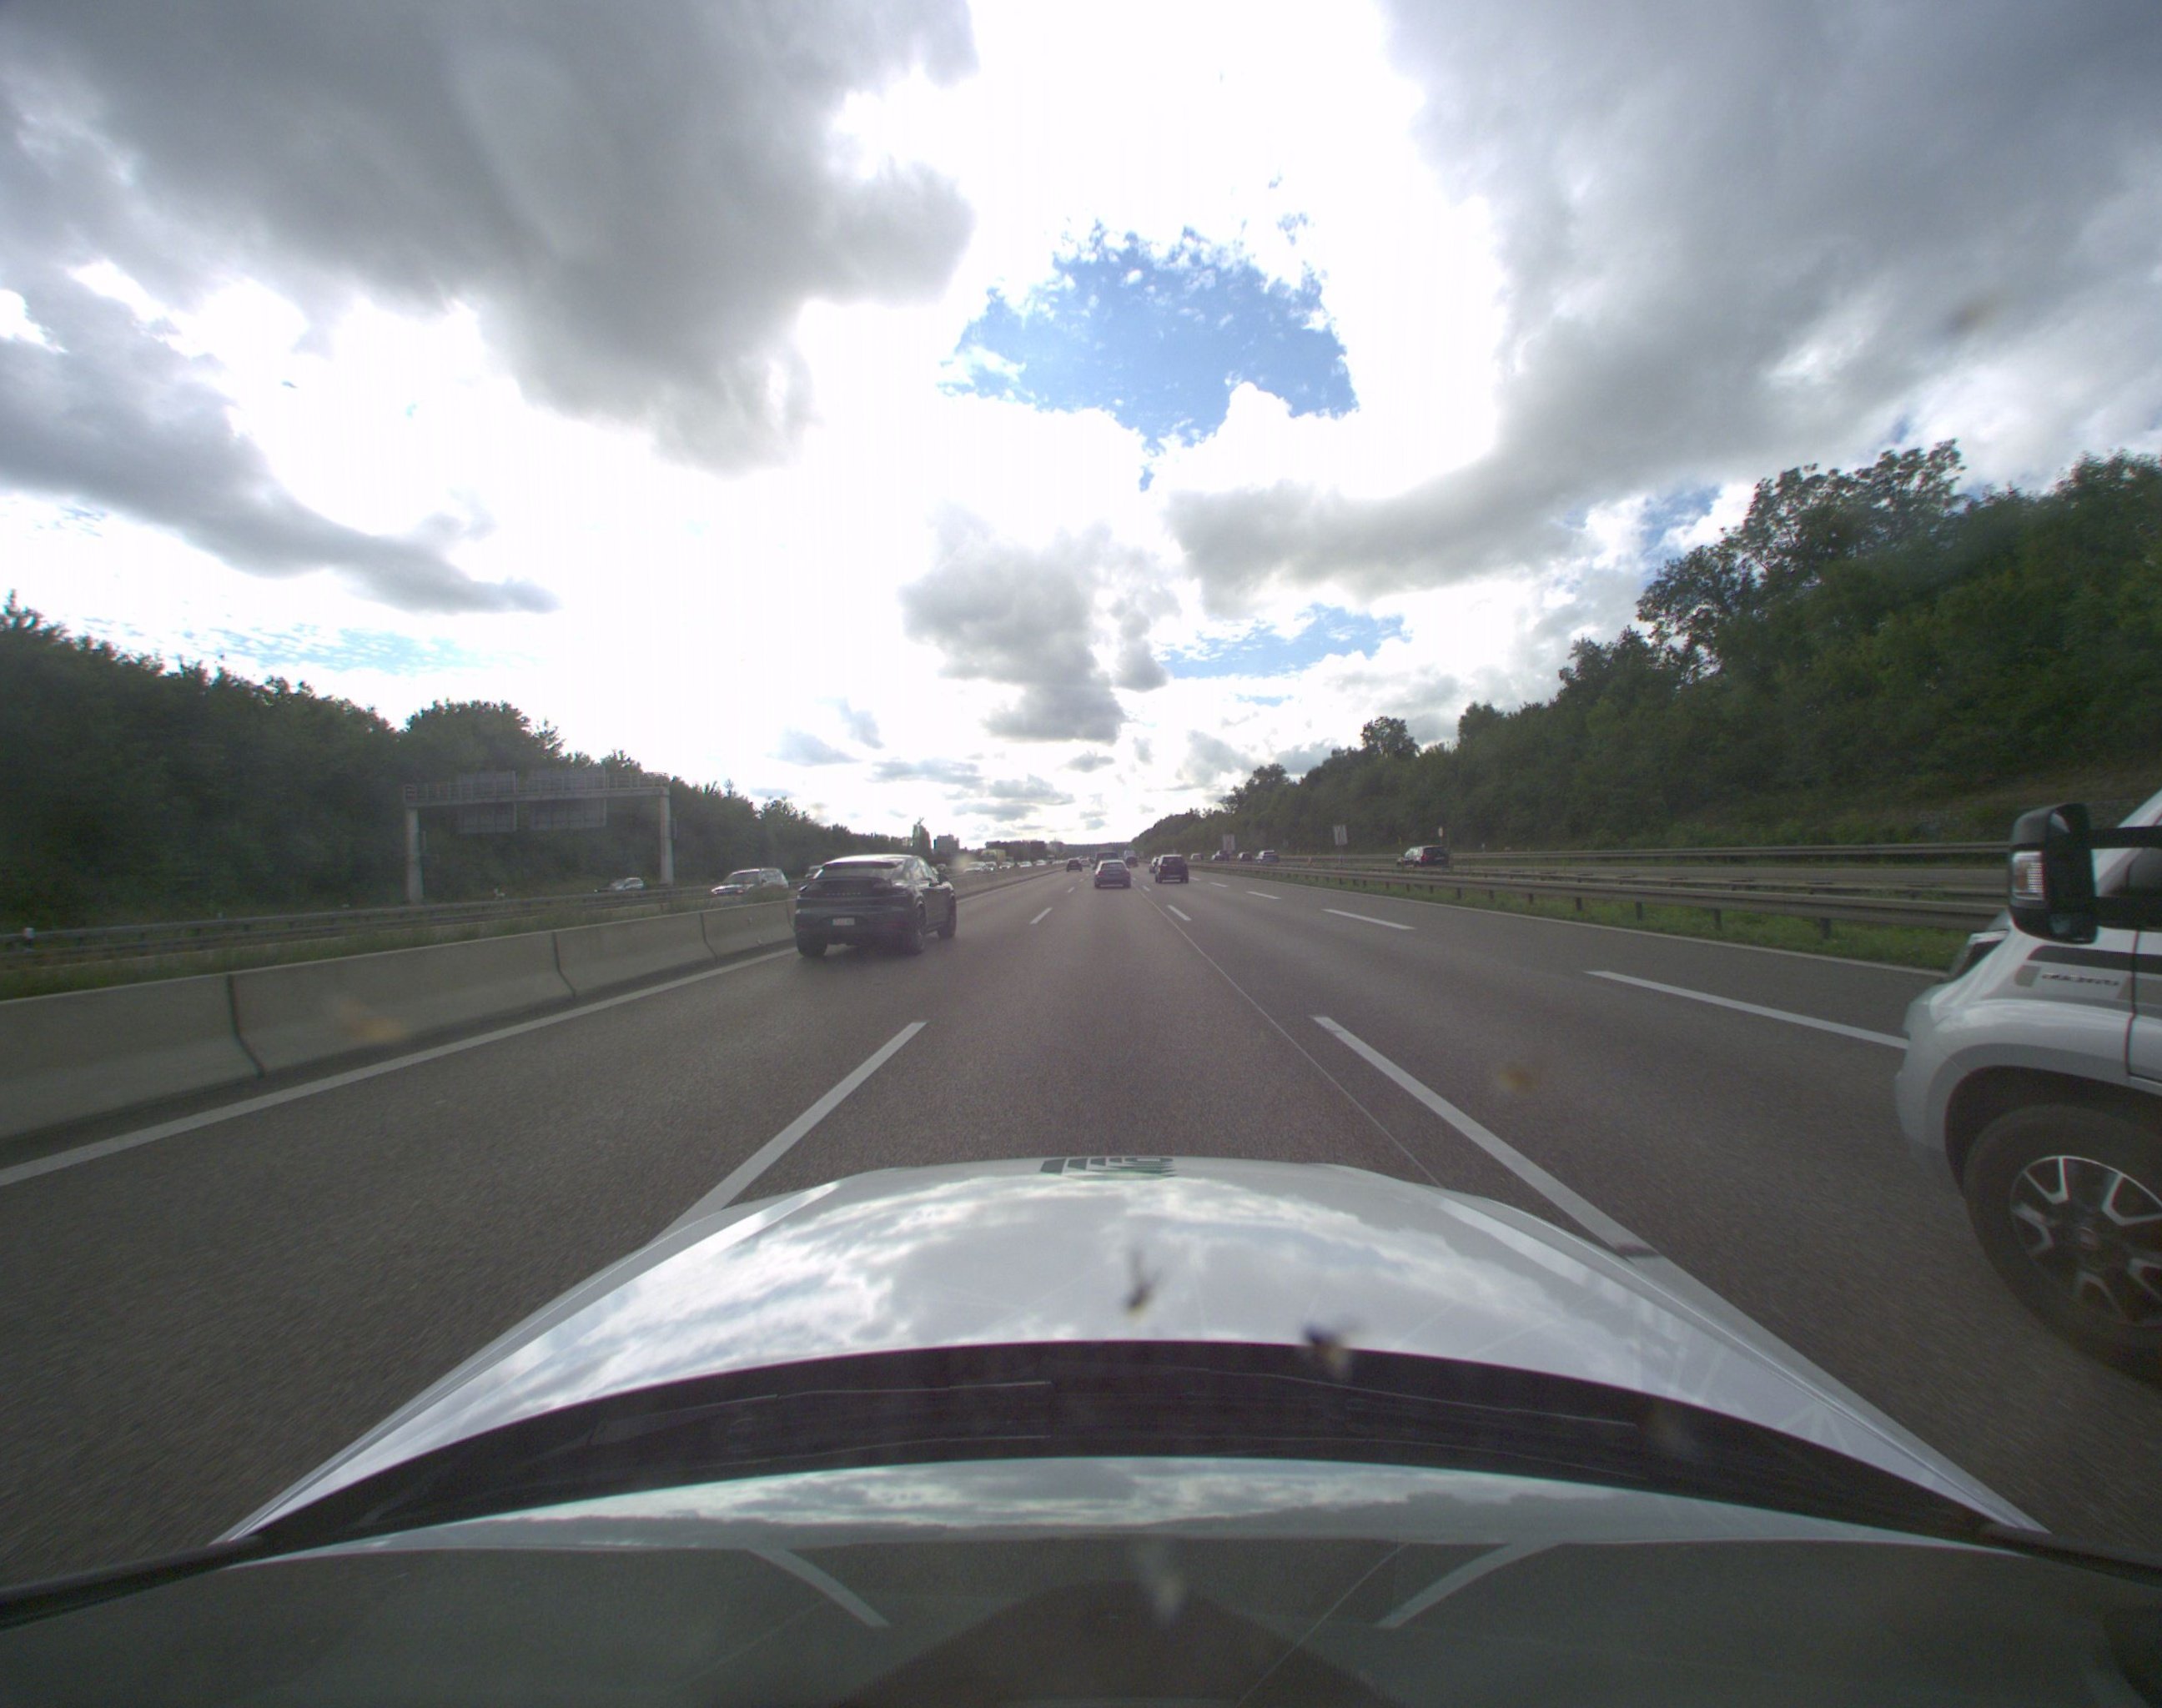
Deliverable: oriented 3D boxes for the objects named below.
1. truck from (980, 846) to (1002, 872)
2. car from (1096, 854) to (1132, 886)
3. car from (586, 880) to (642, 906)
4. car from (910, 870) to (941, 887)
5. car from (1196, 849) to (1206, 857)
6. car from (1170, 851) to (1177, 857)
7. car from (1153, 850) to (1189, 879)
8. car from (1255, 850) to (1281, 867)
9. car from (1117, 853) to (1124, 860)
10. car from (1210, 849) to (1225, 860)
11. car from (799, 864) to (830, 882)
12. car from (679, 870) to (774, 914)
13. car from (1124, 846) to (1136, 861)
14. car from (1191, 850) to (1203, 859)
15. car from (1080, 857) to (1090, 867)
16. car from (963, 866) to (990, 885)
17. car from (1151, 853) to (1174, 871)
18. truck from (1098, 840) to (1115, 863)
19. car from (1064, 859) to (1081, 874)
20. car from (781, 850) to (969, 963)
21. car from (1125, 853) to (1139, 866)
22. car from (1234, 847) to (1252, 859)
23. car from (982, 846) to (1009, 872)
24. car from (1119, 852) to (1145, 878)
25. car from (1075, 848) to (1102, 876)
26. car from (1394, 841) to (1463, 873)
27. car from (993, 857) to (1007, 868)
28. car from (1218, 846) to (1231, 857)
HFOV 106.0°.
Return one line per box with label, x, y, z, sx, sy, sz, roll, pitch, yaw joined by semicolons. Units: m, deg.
truck;-15.844;0.831;143.352;2.886;4.323;5.164;-3;0;2
car;1.659;0.782;42.241;1.714;1.479;4.393;-2;0;1
car;-37.416;3.117;65.398;1.790;1.727;4.513;-3;0;1
car;-13.881;2.148;72.945;1.764;1.294;4.676;-2;0;1
car;26.643;-0.187;181.236;1.746;1.695;4.191;-2;0;1
car;28.096;0.021;247.091;1.746;1.517;4.190;-2;0;1
car;5.249;0.585;48.071;1.691;1.564;4.114;-3;0;1
car;20.117;0.494;87.748;1.840;1.650;4.307;-5;0;2
car;10.581;0.711;217.541;1.746;1.695;4.191;-2;0;1
car;20.646;0.057;123.404;1.590;1.546;4.190;-2;0;0
car;-36.998;2.546;113.245;1.985;2.234;5.894;-3;0;3
car;-14.833;1.527;34.421;1.768;1.561;4.782;-3;0;1
car;8.084;-0.019;134.436;1.866;2.357;4.283;-2;0;1
car;21.894;0.136;154.215;1.746;1.695;4.191;-2;0;1
car;0.723;1.406;141.672;1.691;1.611;4.114;-3;0;1
car;-9.867;1.979;77.084;1.765;1.611;4.467;-2;0;1
car;7.642;0.725;76.451;1.825;1.521;4.226;-2;0;1
truck;5.026;-0.492;161.329;3.251;4.375;11.030;-2;0;2
car;-1.032;1.466;98.710;1.866;1.698;4.073;-3;0;1
car;-3.505;0.787;15.111;1.905;1.636;5.502;-2;0;1
car;7.992;0.783;127.569;1.906;1.919;4.031;-2;0;1
car;24.203;-0.177;121.634;1.723;1.545;4.305;-5;0;0
car;-15.663;0.876;150.354;2.895;4.325;14.150;-3;0;1
car;3.659;0.774;59.156;1.714;1.724;4.393;-2;0;1
car;0.590;0.578;59.516;1.848;1.910;4.261;-2;0;1
car;18.614;0.143;43.837;1.836;1.484;4.527;-5;0;2
car;-12.573;1.366;127.293;1.588;1.611;4.465;-2;0;1
car;25.393;-0.407;144.561;1.590;1.804;3.824;-2;0;0
